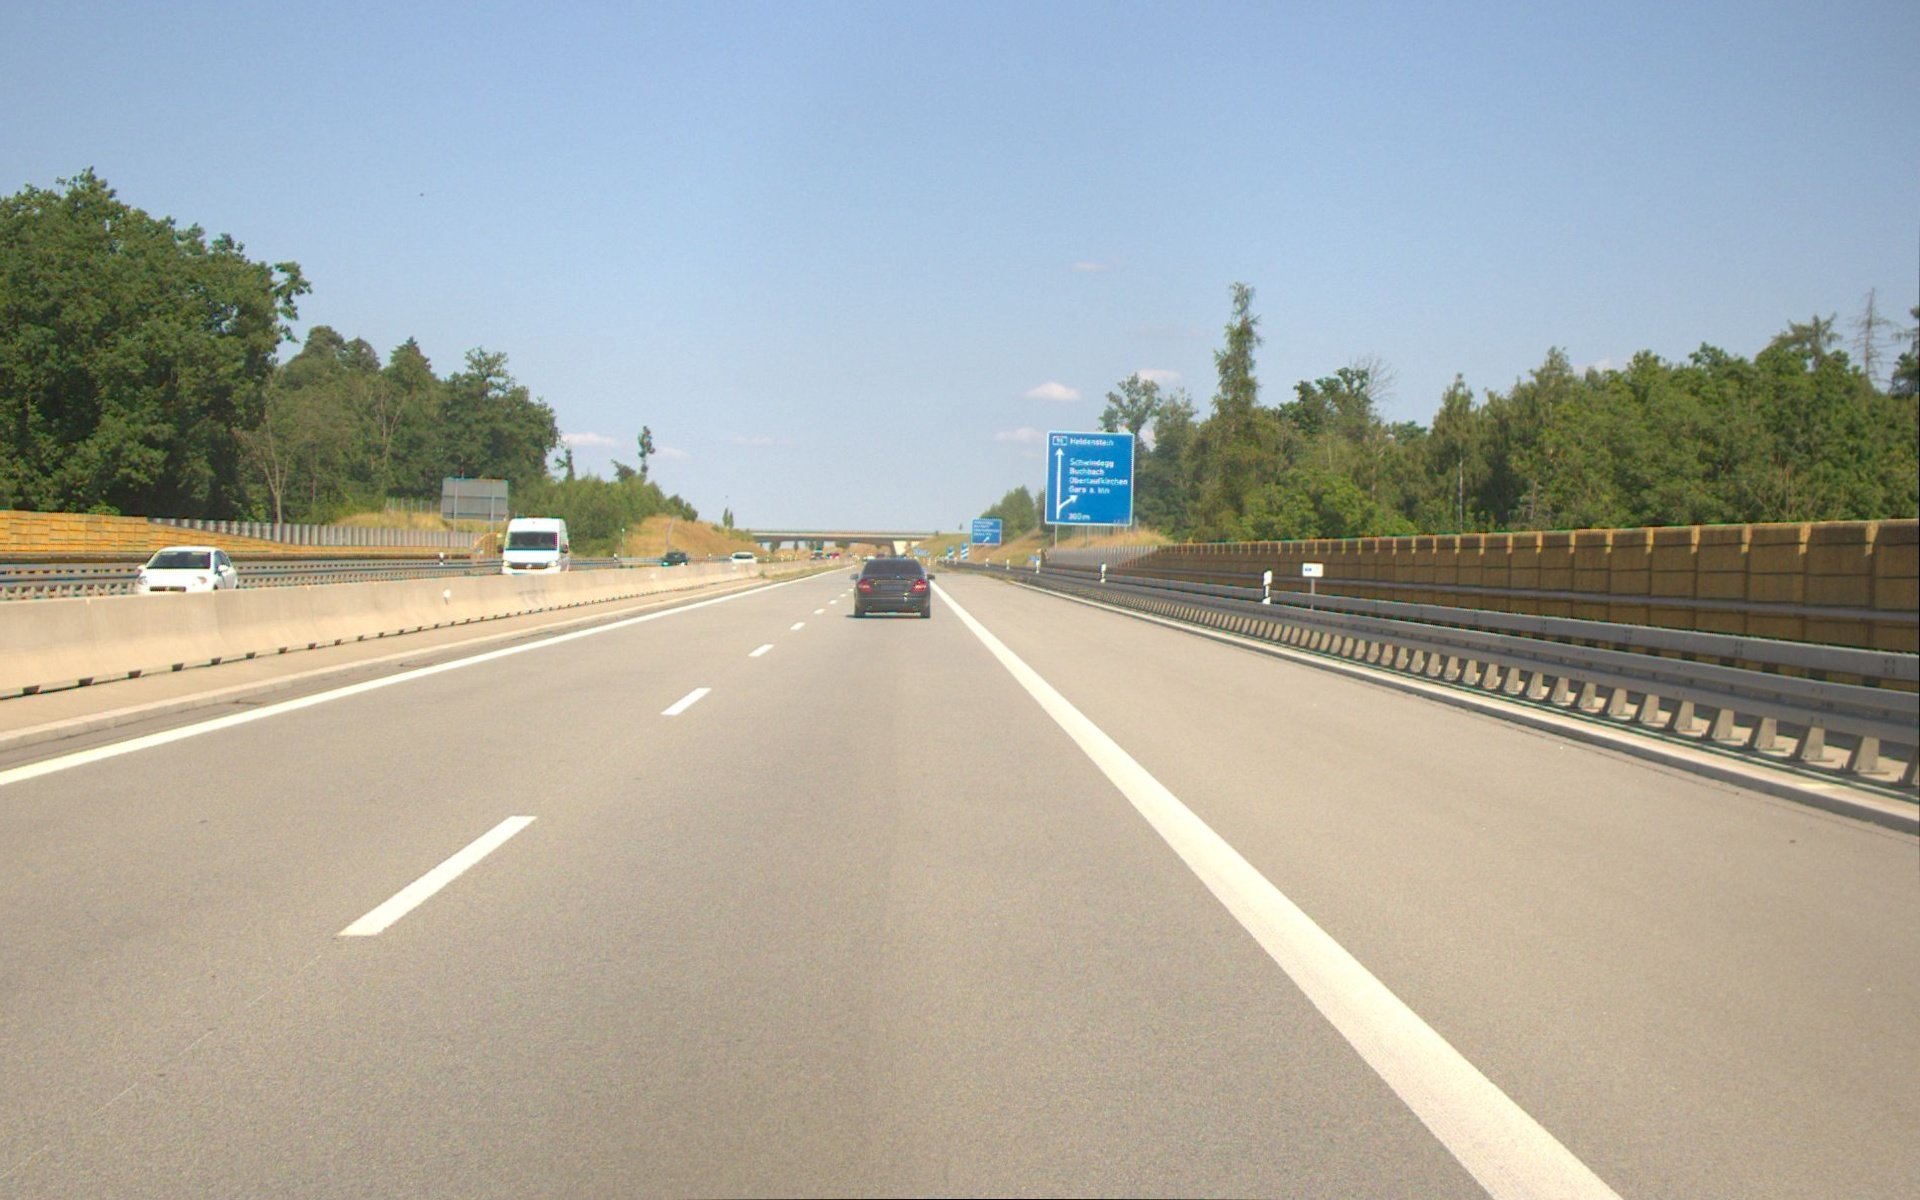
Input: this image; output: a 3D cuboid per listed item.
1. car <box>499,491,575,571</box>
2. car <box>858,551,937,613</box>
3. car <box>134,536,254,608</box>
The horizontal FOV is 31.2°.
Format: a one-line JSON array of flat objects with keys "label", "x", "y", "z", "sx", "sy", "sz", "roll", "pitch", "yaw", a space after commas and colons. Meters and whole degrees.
[{"label": "car", "x": -14.666, "y": -2.386, "z": 119.438, "sx": 2.023, "sy": 2.661, "sz": 6.488, "roll": 1, "pitch": 1, "yaw": -2}, {"label": "car", "x": -1.446, "y": -0.432, "z": 80.325, "sx": 1.790, "sy": 1.369, "sz": 3.917, "roll": 1, "pitch": 1, "yaw": -1}, {"label": "car", "x": -16.538, "y": -0.614, "z": 74.371, "sx": 1.647, "sy": 1.503, "sz": 4.332, "roll": 0, "pitch": 1, "yaw": 0}]
